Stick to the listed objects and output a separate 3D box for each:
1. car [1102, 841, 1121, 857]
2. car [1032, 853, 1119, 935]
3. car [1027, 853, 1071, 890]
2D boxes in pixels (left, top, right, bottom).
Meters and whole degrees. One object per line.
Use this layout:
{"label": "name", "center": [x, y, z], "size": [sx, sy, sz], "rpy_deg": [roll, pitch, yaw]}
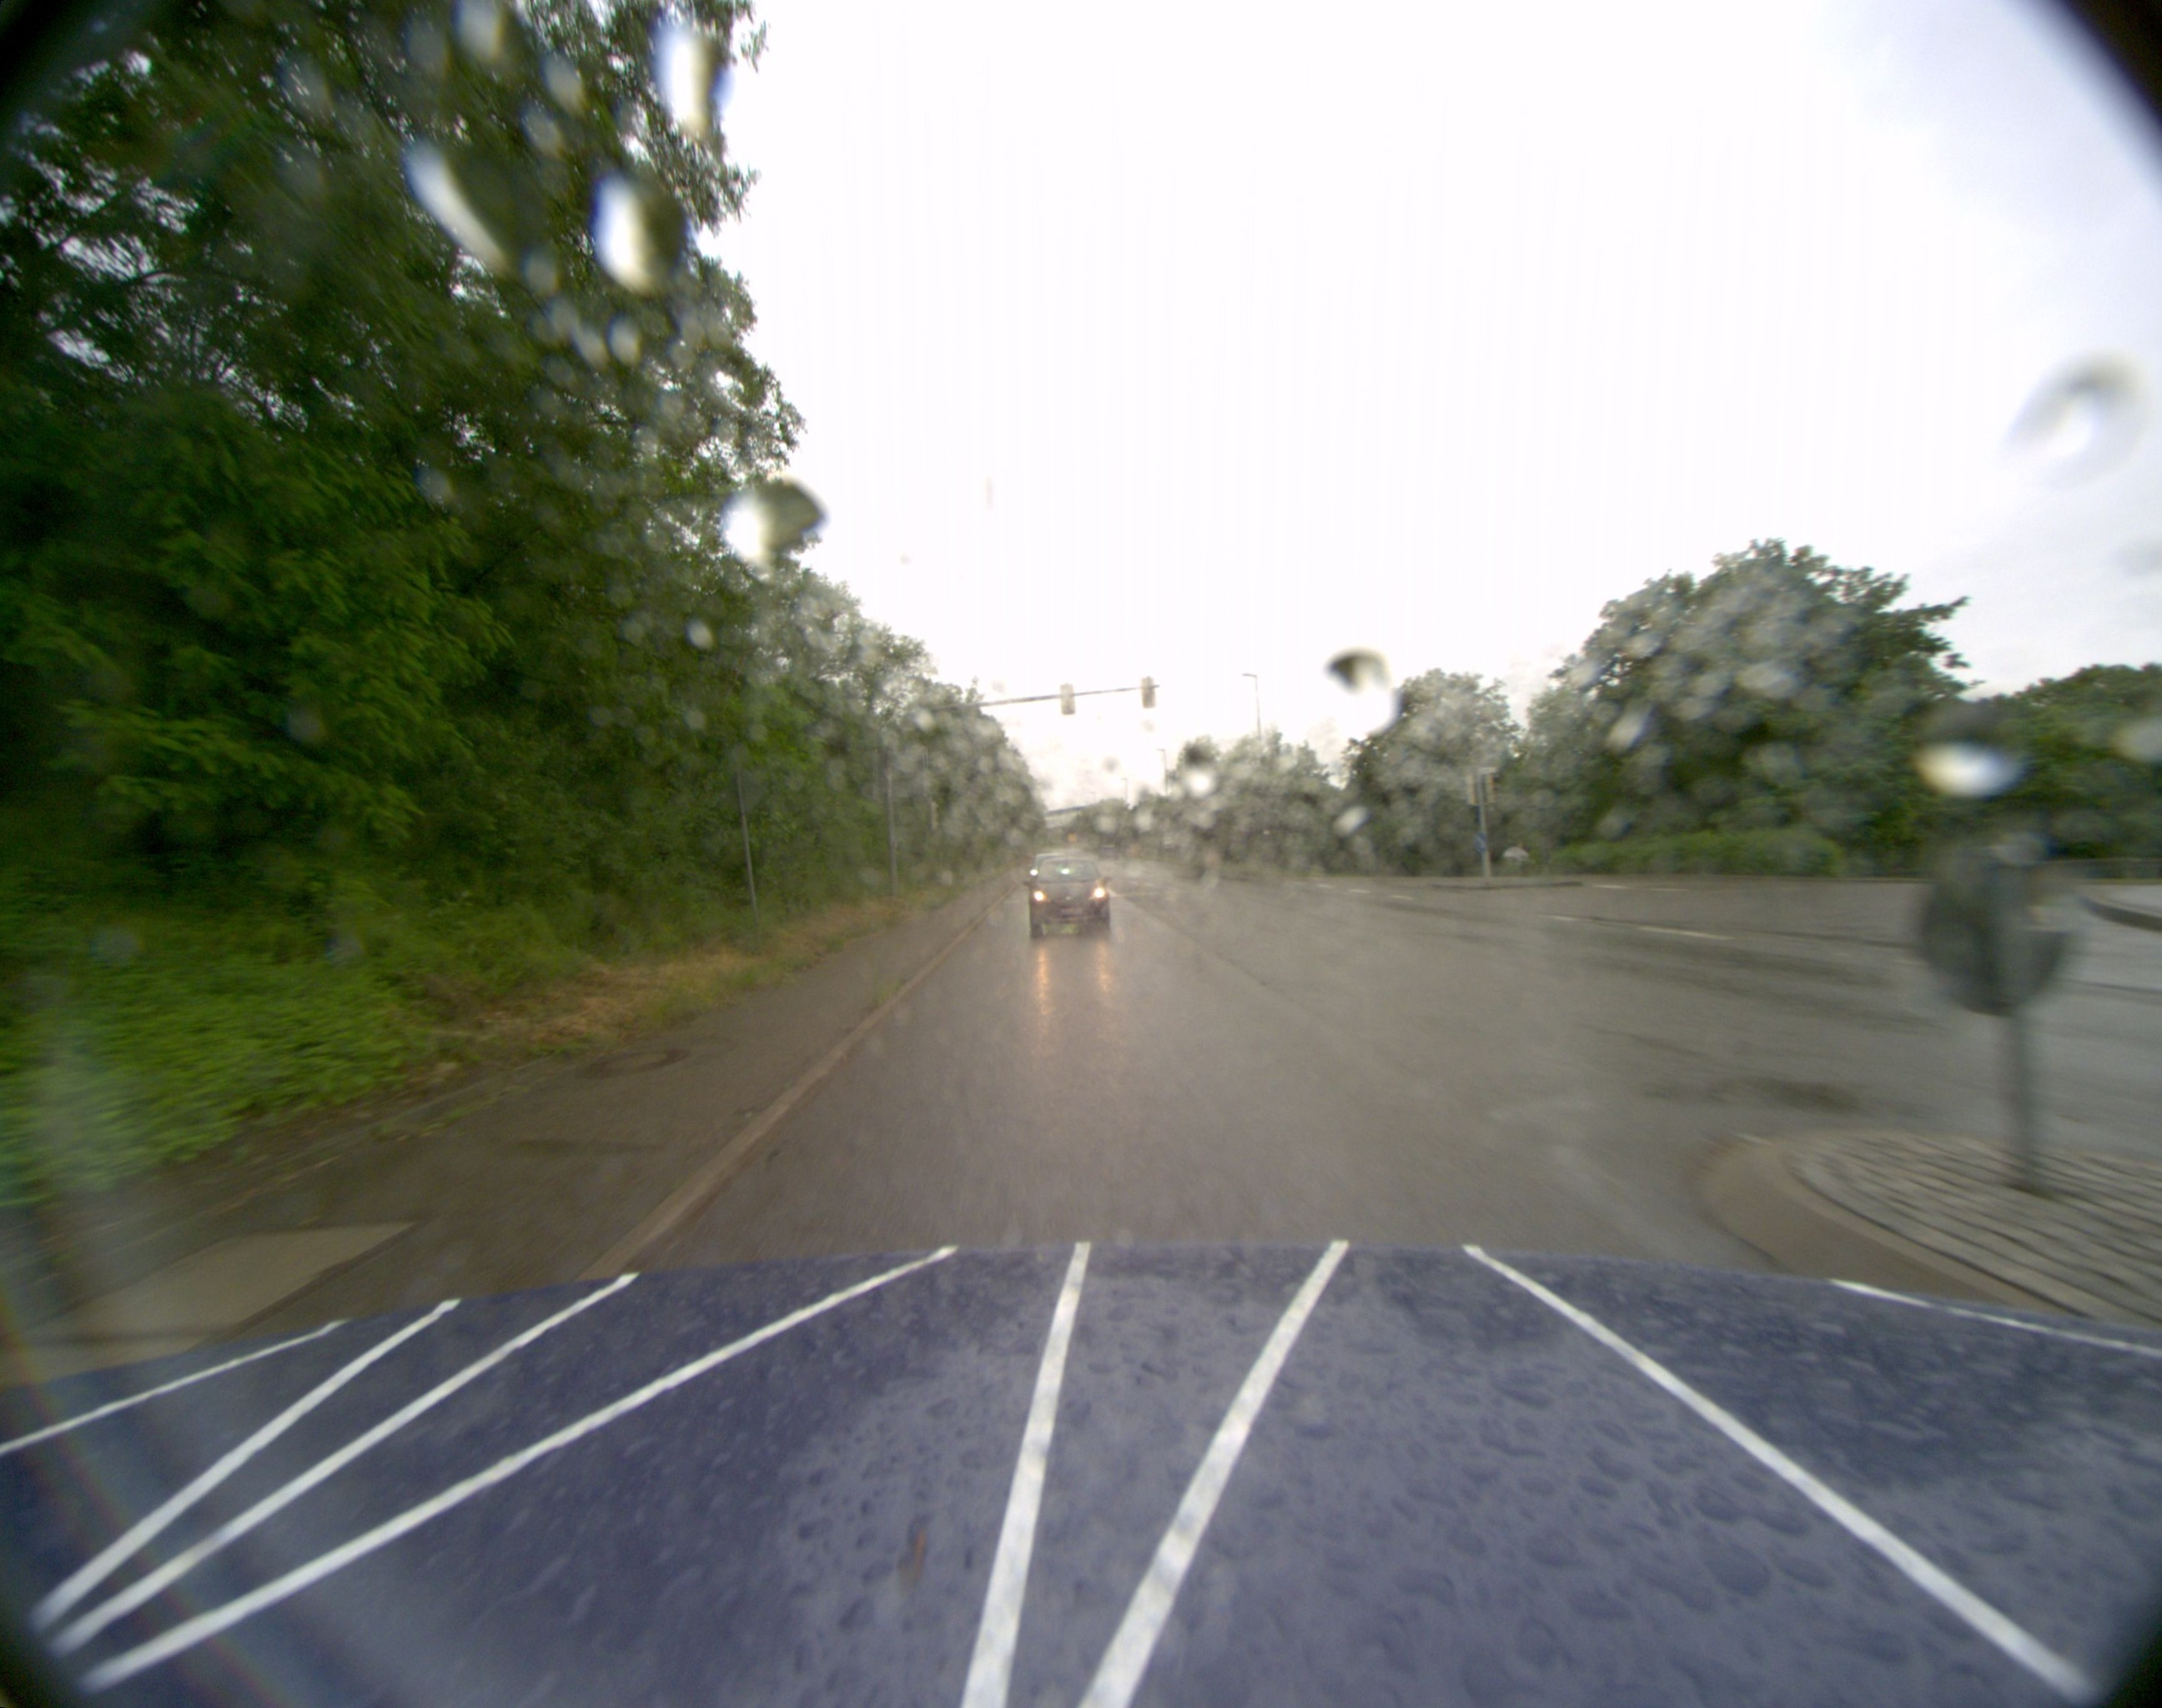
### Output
{"label": "car", "center": [3.220, -0.551, 81.071], "size": [1.737, 1.565, 3.868], "rpy_deg": [-2, 0, -2]}
{"label": "car", "center": [-0.193, 0.790, 17.110], "size": [1.682, 1.561, 3.887], "rpy_deg": [-2, 0, -3]}
{"label": "car", "center": [-1.366, 0.725, 33.599], "size": [1.681, 1.498, 4.153], "rpy_deg": [-2, 0, 0]}
